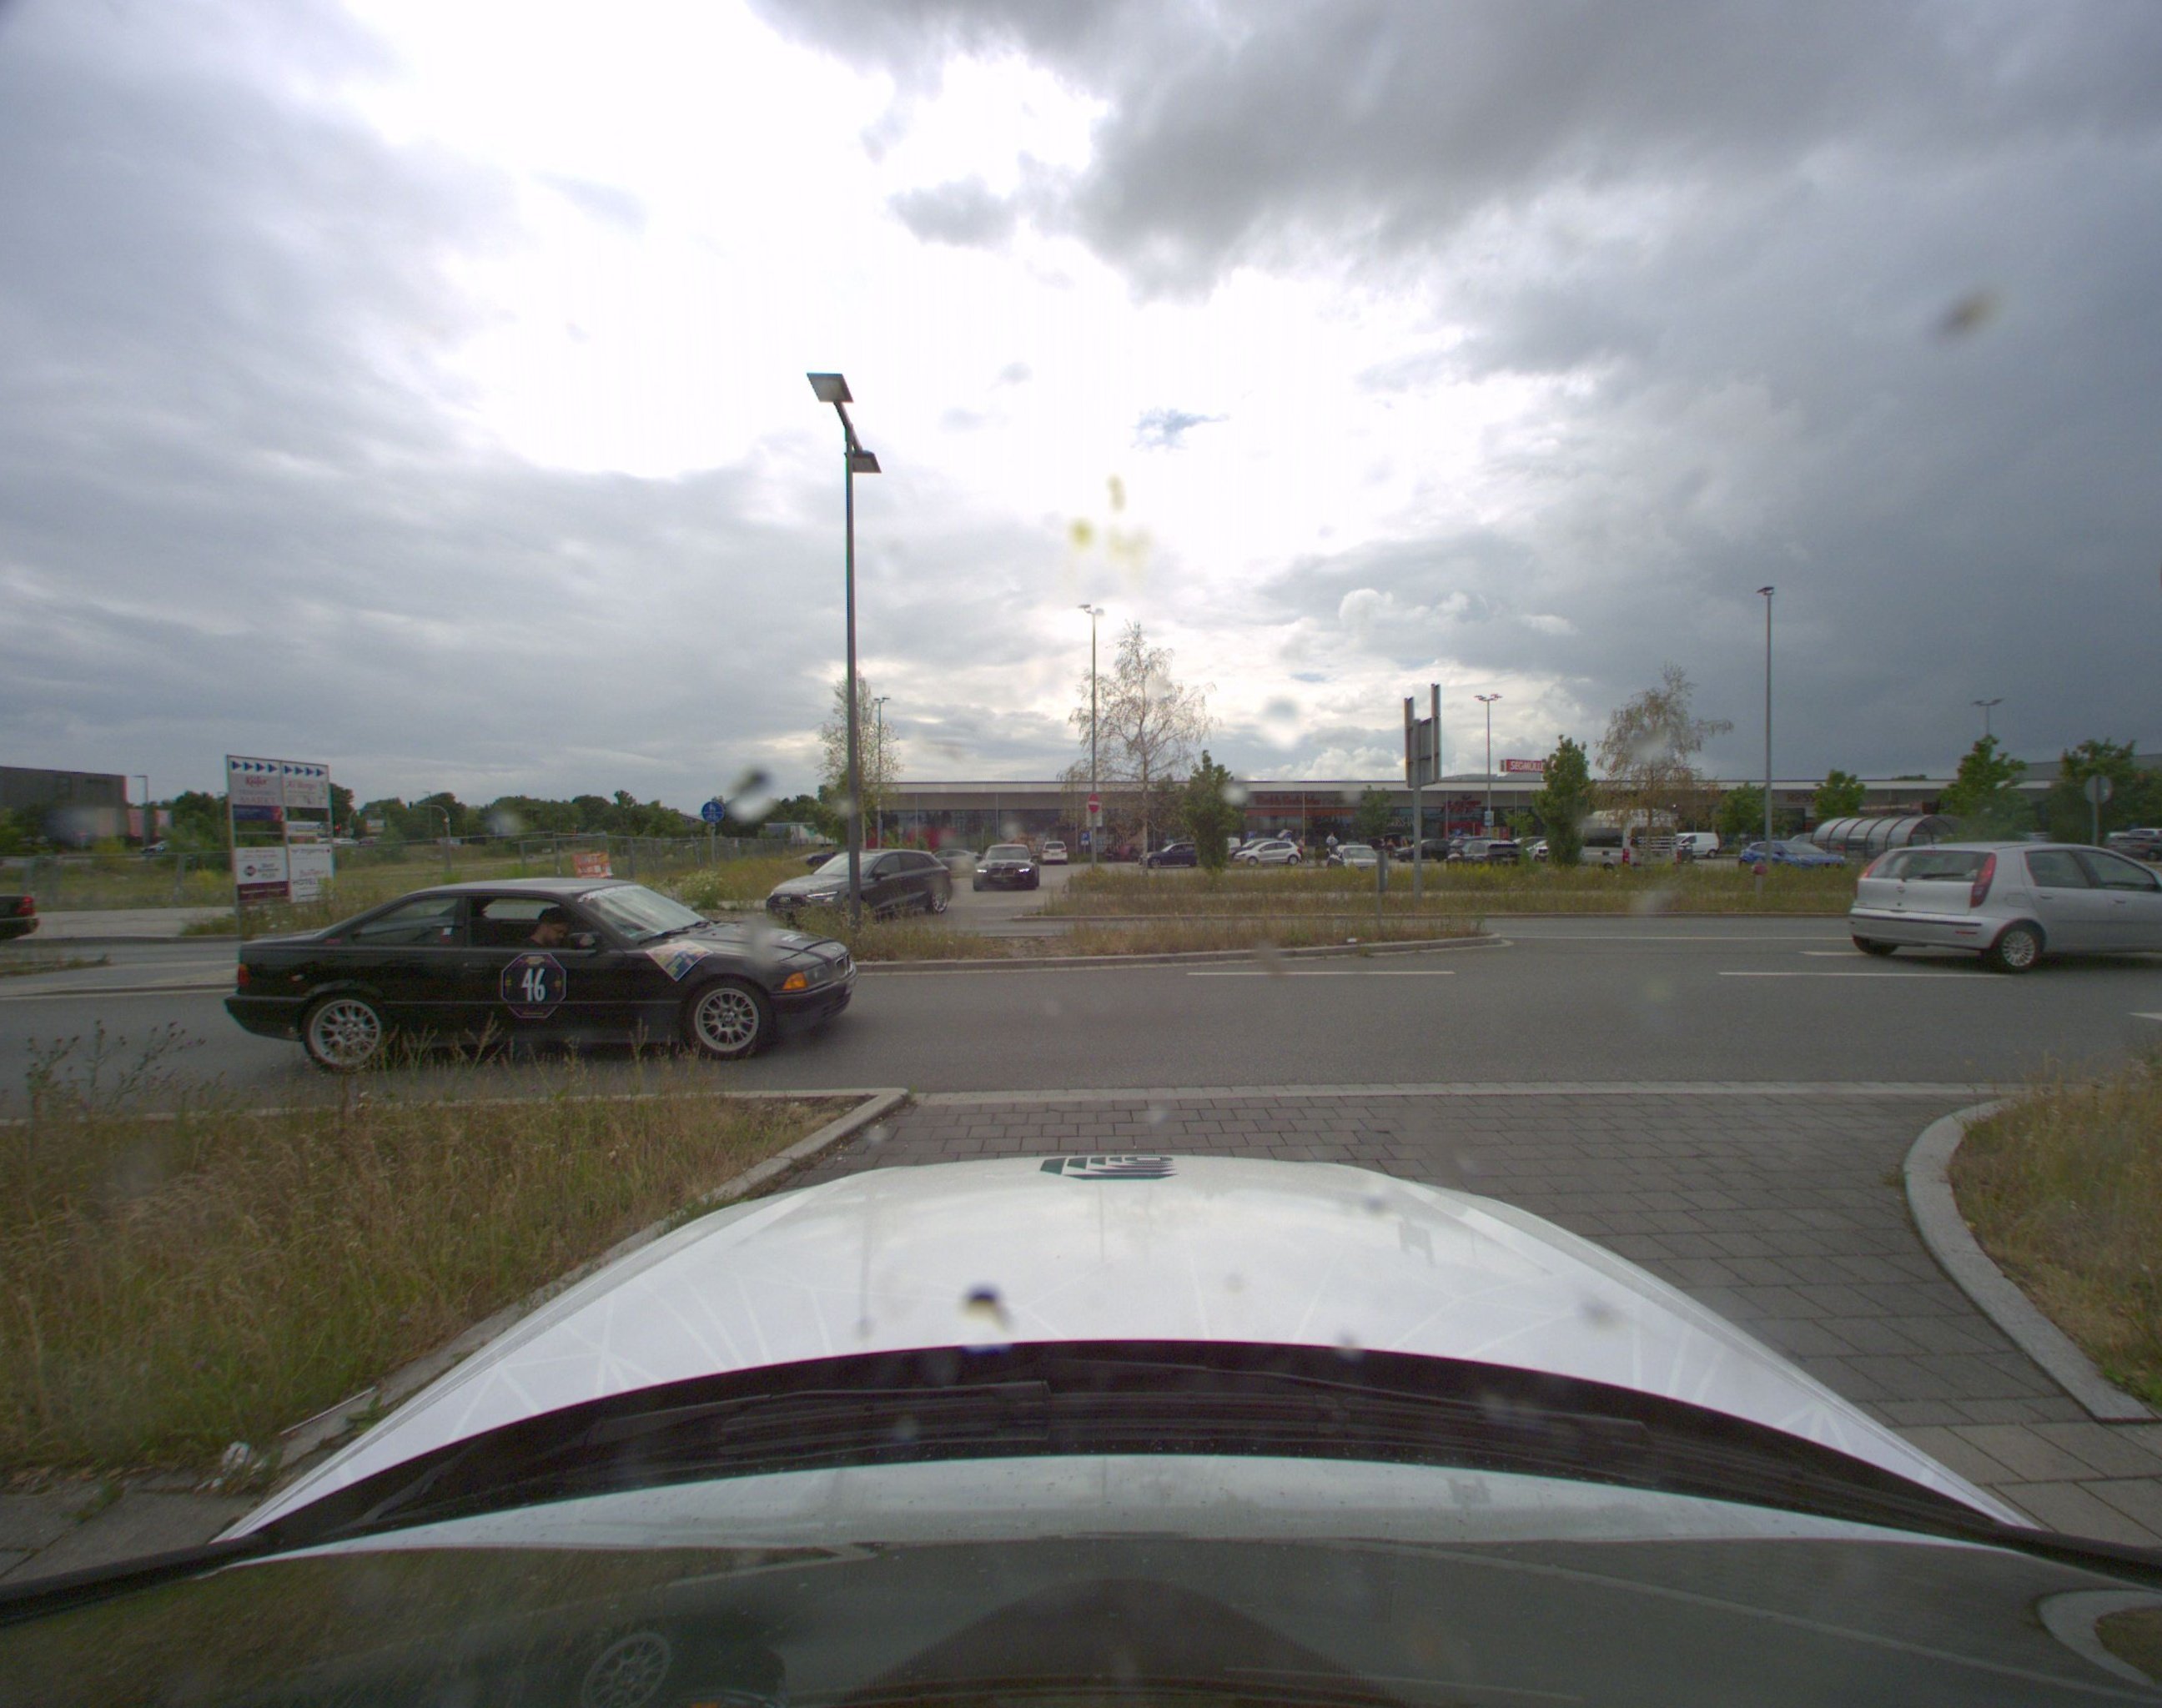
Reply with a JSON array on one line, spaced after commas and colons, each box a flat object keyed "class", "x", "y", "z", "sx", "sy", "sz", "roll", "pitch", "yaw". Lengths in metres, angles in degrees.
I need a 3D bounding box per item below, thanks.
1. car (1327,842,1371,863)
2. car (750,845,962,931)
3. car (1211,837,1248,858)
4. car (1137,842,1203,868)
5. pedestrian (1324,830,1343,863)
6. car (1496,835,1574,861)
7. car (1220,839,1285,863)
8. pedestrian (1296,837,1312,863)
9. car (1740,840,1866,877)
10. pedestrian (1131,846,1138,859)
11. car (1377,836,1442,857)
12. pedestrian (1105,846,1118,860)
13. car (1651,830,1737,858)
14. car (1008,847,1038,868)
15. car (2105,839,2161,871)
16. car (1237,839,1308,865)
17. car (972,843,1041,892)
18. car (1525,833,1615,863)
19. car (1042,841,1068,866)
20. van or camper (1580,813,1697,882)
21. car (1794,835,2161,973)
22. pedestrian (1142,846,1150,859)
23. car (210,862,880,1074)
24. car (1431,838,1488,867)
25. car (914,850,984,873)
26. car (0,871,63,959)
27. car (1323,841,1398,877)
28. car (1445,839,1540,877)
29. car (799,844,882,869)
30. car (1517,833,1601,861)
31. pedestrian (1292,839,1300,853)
[{"class": "car", "x": 20.410, "y": -0.119, "z": 62.200, "sx": 1.988, "sy": 1.508, "sz": 3.998, "roll": 0, "pitch": 1, "yaw": -1}, {"class": "car", "x": -4.387, "y": 0.580, "z": 16.670, "sx": 1.775, "sy": 1.466, "sz": 4.346, "roll": 0, "pitch": 1, "yaw": 25}, {"class": "car", "x": 11.175, "y": -0.499, "z": 61.492, "sx": 1.988, "sy": 1.508, "sz": 3.998, "roll": -1, "pitch": 1, "yaw": -1}, {"class": "car", "x": 5.143, "y": 0.057, "z": 47.464, "sx": 3.601, "sy": 1.454, "sz": 1.665, "roll": -1, "pitch": 1, "yaw": -5}, {"class": "pedestrian", "x": 15.698, "y": -0.487, "z": 50.673, "sx": 0.861, "sy": 2.013, "sz": 1.004, "roll": 0, "pitch": 1, "yaw": 1}, {"class": "car", "x": 29.335, "y": -0.419, "z": 52.692, "sx": 3.968, "sy": 1.618, "sz": 2.003, "roll": -1, "pitch": 1, "yaw": 5}, {"class": "car", "x": 10.714, "y": -0.184, "z": 51.024, "sx": 3.739, "sy": 1.454, "sz": 1.666, "roll": -1, "pitch": 1, "yaw": -4}, {"class": "pedestrian", "x": 13.970, "y": -0.237, "z": 51.038, "sx": 0.818, "sy": 1.631, "sz": 0.899, "roll": 0, "pitch": 0, "yaw": 1}, {"class": "car", "x": 28.137, "y": 0.149, "z": 31.937, "sx": 1.793, "sy": 1.384, "sz": 4.161, "roll": 0, "pitch": 0, "yaw": 9}, {"class": "pedestrian", "x": 4.568, "y": -0.139, "z": 69.570, "sx": 0.575, "sy": 1.124, "sz": 0.560, "roll": -1, "pitch": 1, "yaw": -7}, {"class": "car", "x": 24.285, "y": -0.575, "z": 60.273, "sx": 3.977, "sy": 1.508, "sz": 1.998, "roll": -1, "pitch": 1, "yaw": -3}, {"class": "pedestrian", "x": 2.643, "y": -0.073, "z": 69.813, "sx": 0.969, "sy": 1.154, "sz": 1.131, "roll": -1, "pitch": 1, "yaw": -5}, {"class": "car", "x": 40.683, "y": -0.670, "z": 54.093, "sx": 4.408, "sy": 1.819, "sz": 1.996, "roll": 0, "pitch": 0, "yaw": -6}, {"class": "car", "x": -4.244, "y": 0.267, "z": 60.145, "sx": 1.901, "sy": 1.443, "sz": 3.999, "roll": -1, "pitch": 1, "yaw": -1}, {"class": "car", "x": 59.030, "y": 0.042, "z": 44.895, "sx": 3.827, "sy": 1.653, "sz": 1.756, "roll": -1, "pitch": 1, "yaw": -13}, {"class": "car", "x": 11.305, "y": -0.135, "z": 48.180, "sx": 3.739, "sy": 1.454, "sz": 1.666, "roll": -1, "pitch": 1, "yaw": -4}, {"class": "car", "x": -2.311, "y": 0.377, "z": 26.313, "sx": 1.774, "sy": 1.445, "sz": 4.610, "roll": -1, "pitch": 1, "yaw": 0}, {"class": "car", "x": 28.271, "y": -0.366, "z": 47.184, "sx": 3.968, "sy": 1.618, "sz": 2.003, "roll": -1, "pitch": 1, "yaw": 5}, {"class": "car", "x": -1.901, "y": -0.085, "z": 60.166, "sx": 1.819, "sy": 1.699, "sz": 4.233, "roll": -1, "pitch": 2, "yaw": -1}, {"class": "van or camper", "x": 21.397, "y": -0.251, "z": 31.476, "sx": 2.269, "sy": 2.492, "sz": 4.011, "roll": 0, "pitch": 0, "yaw": 10}, {"class": "car", "x": 11.345, "y": 0.527, "z": 10.010, "sx": 3.798, "sy": 1.461, "sz": 1.798, "roll": -1, "pitch": 1, "yaw": -6}, {"class": "pedestrian", "x": 5.473, "y": -0.134, "z": 68.640, "sx": 0.575, "sy": 1.124, "sz": 0.560, "roll": -1, "pitch": 1, "yaw": -7}, {"class": "car", "x": -4.018, "y": 0.813, "z": 6.746, "sx": 4.278, "sy": 1.386, "sz": 1.757, "roll": -1, "pitch": 1, "yaw": -3}, {"class": "car", "x": 22.380, "y": -0.106, "z": 48.310, "sx": 1.805, "sy": 1.653, "sz": 4.006, "roll": -1, "pitch": 1, "yaw": 5}, {"class": "car", "x": -7.846, "y": 0.436, "z": 48.693, "sx": 3.982, "sy": 1.352, "sz": 1.996, "roll": 0, "pitch": 0, "yaw": -6}, {"class": "car", "x": -19.565, "y": 1.017, "z": 12.852, "sx": 4.351, "sy": 1.395, "sz": 1.787, "roll": -1, "pitch": 0, "yaw": -6}, {"class": "car", "x": 11.399, "y": 0.183, "z": 33.500, "sx": 1.979, "sy": 1.384, "sz": 4.155, "roll": 0, "pitch": 0, "yaw": 4}, {"class": "car", "x": 16.478, "y": 0.142, "z": 32.866, "sx": 1.979, "sy": 1.451, "sz": 4.155, "roll": 0, "pitch": 0, "yaw": 4}, {"class": "car", "x": -15.788, "y": 0.144, "z": 53.660, "sx": 5.005, "sy": 1.557, "sz": 1.995, "roll": 0, "pitch": 0, "yaw": -8}, {"class": "car", "x": 29.260, "y": -0.424, "z": 49.950, "sx": 3.968, "sy": 1.618, "sz": 2.003, "roll": -1, "pitch": 1, "yaw": 5}, {"class": "pedestrian", "x": 18.234, "y": -0.686, "z": 69.003, "sx": 0.559, "sy": 1.201, "sz": 0.527, "roll": -1, "pitch": 1, "yaw": -4}]
